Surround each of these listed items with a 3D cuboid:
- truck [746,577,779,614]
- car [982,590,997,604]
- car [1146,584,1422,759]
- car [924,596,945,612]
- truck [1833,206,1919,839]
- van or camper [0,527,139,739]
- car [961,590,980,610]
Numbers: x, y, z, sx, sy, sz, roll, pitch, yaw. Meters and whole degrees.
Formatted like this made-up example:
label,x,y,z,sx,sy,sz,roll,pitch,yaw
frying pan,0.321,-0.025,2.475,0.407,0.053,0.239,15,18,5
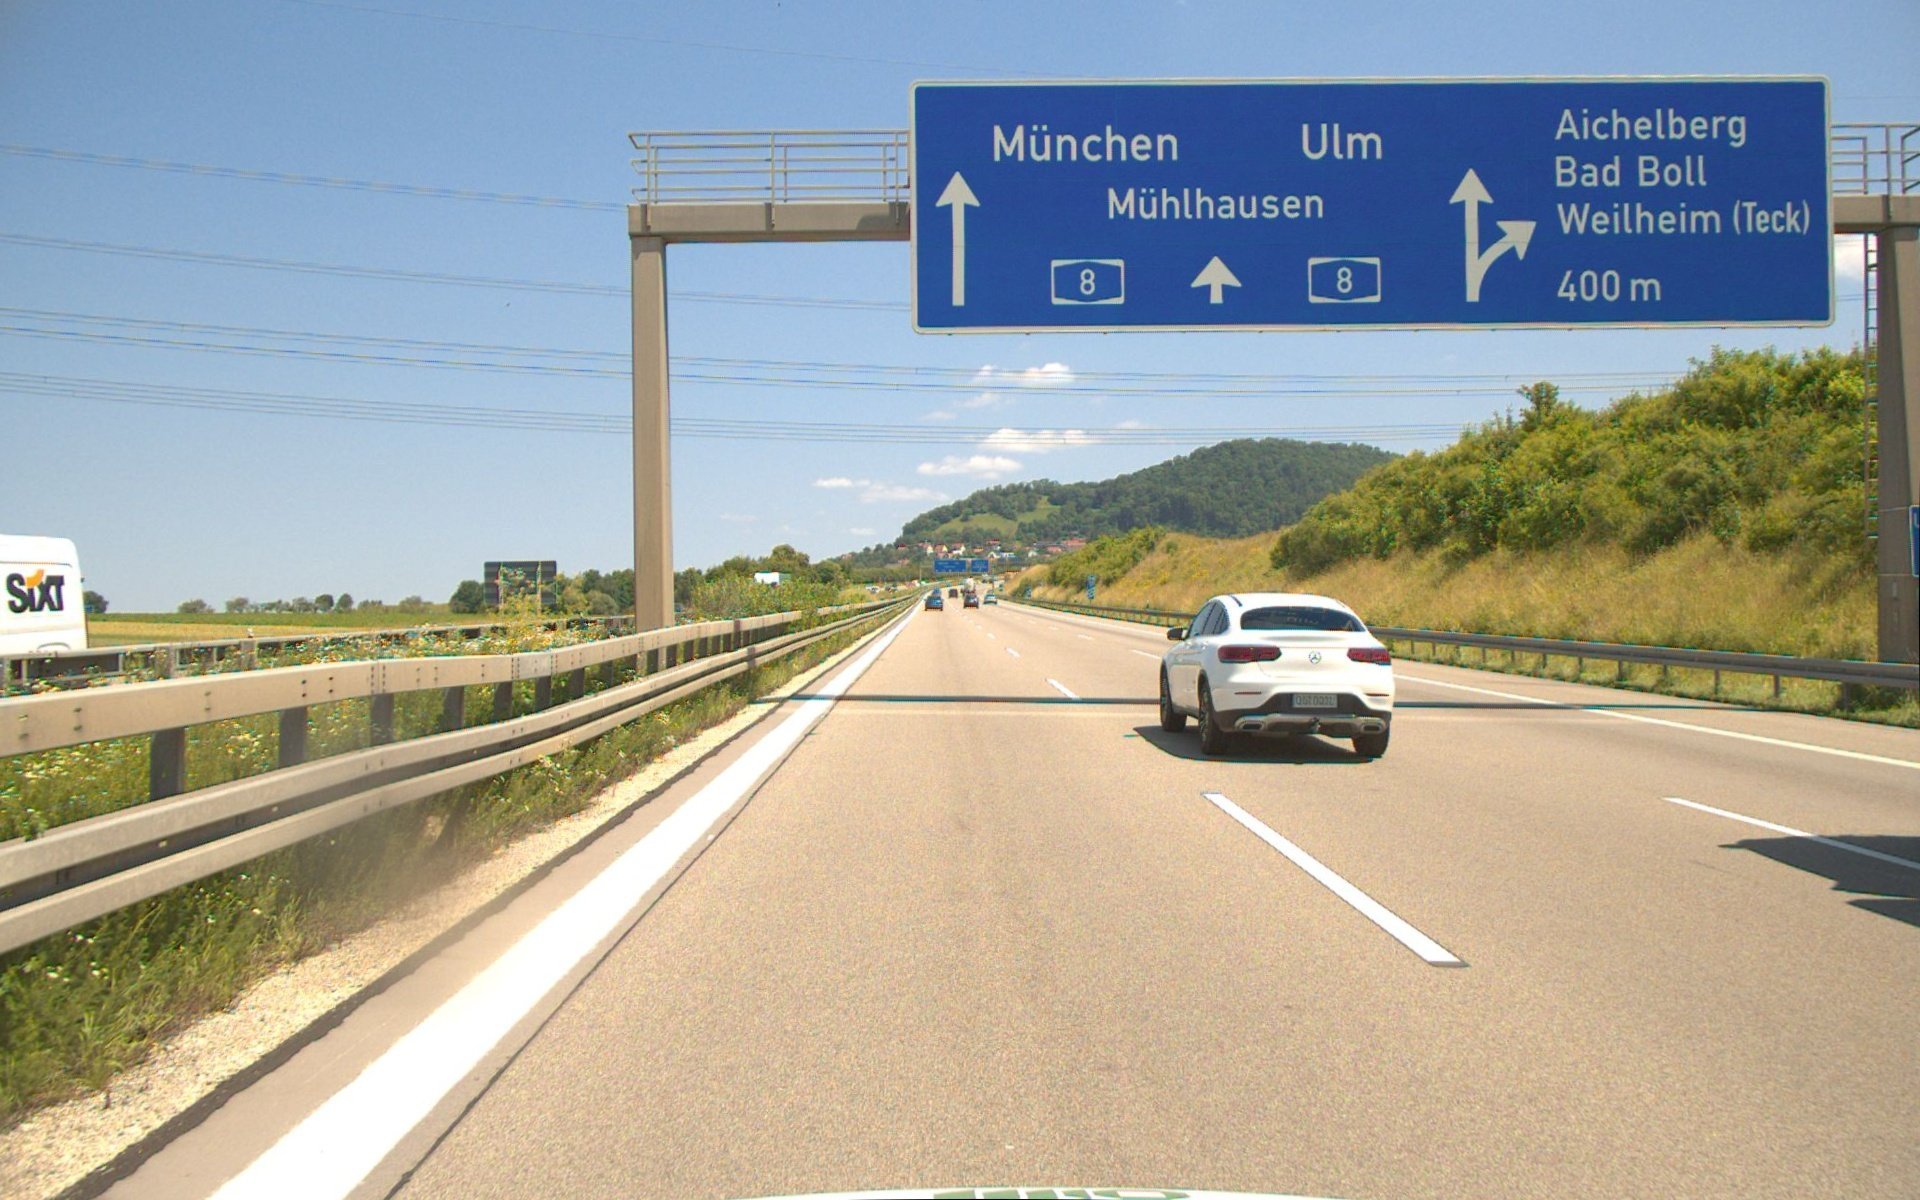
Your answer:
label,x,y,z,sx,sy,sz,roll,pitch,yaw
truck,-19.921,-0.477,167.173,2.668,3.621,5.898,1,0,-2
car,4.133,-0.455,231.724,1.953,1.850,4.000,-1,0,0
car,3.332,0.681,18.109,1.875,1.608,5.229,1,0,-1
car,-2.327,0.344,151.886,1.953,1.413,3.999,1,0,0
truck,7.560,-0.495,8.298,2.696,4.091,6.787,1,0,-1
van or camper,-12.638,0.375,20.007,2.182,2.552,6.596,1,0,-1
car,1.122,0.011,176.798,1.953,2.049,3.999,1,0,0
